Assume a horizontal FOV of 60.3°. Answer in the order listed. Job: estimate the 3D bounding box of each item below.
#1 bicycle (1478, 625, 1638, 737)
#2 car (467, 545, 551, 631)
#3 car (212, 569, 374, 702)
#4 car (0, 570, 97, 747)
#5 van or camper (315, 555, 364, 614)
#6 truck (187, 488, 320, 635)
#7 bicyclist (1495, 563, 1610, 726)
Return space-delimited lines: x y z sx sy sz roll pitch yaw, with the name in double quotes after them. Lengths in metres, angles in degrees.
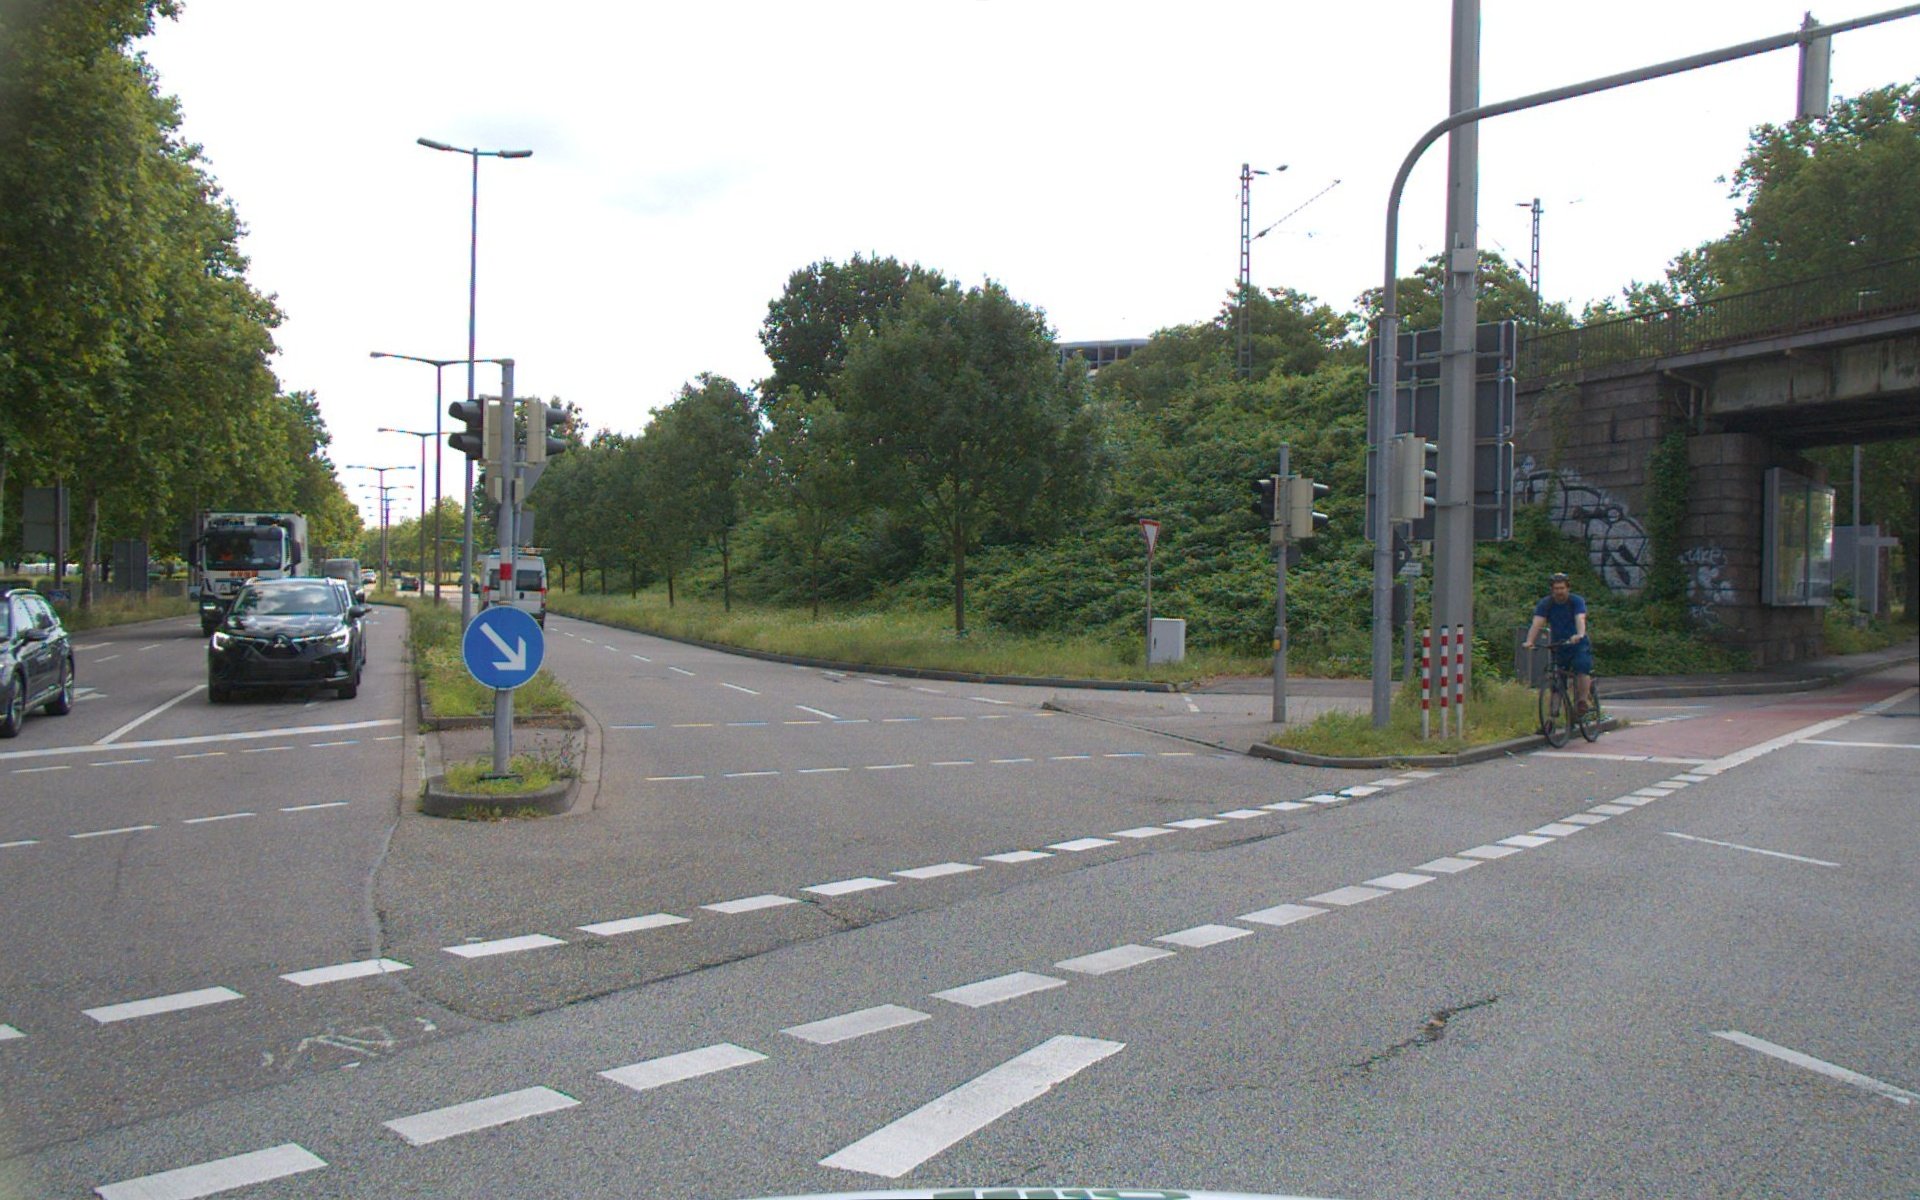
6.584 0.850 18.131 0.830 1.112 2.303 1 1 43 "bicycle"
-15.241 -0.471 55.774 2.167 2.773 4.899 -1 2 -22 "car"
-9.044 0.401 22.706 1.681 1.615 4.340 -1 1 -17 "car"
-10.675 0.522 17.595 1.835 1.601 4.547 1 2 -17 "car"
-30.711 -0.783 81.846 2.074 2.705 6.676 -3 1 -21 "van or camper"
-21.170 -1.150 50.084 2.609 3.955 10.110 -1 1 -17 "truck"
6.449 0.488 18.001 0.830 1.708 0.818 -5 -4 43 "bicyclist"
